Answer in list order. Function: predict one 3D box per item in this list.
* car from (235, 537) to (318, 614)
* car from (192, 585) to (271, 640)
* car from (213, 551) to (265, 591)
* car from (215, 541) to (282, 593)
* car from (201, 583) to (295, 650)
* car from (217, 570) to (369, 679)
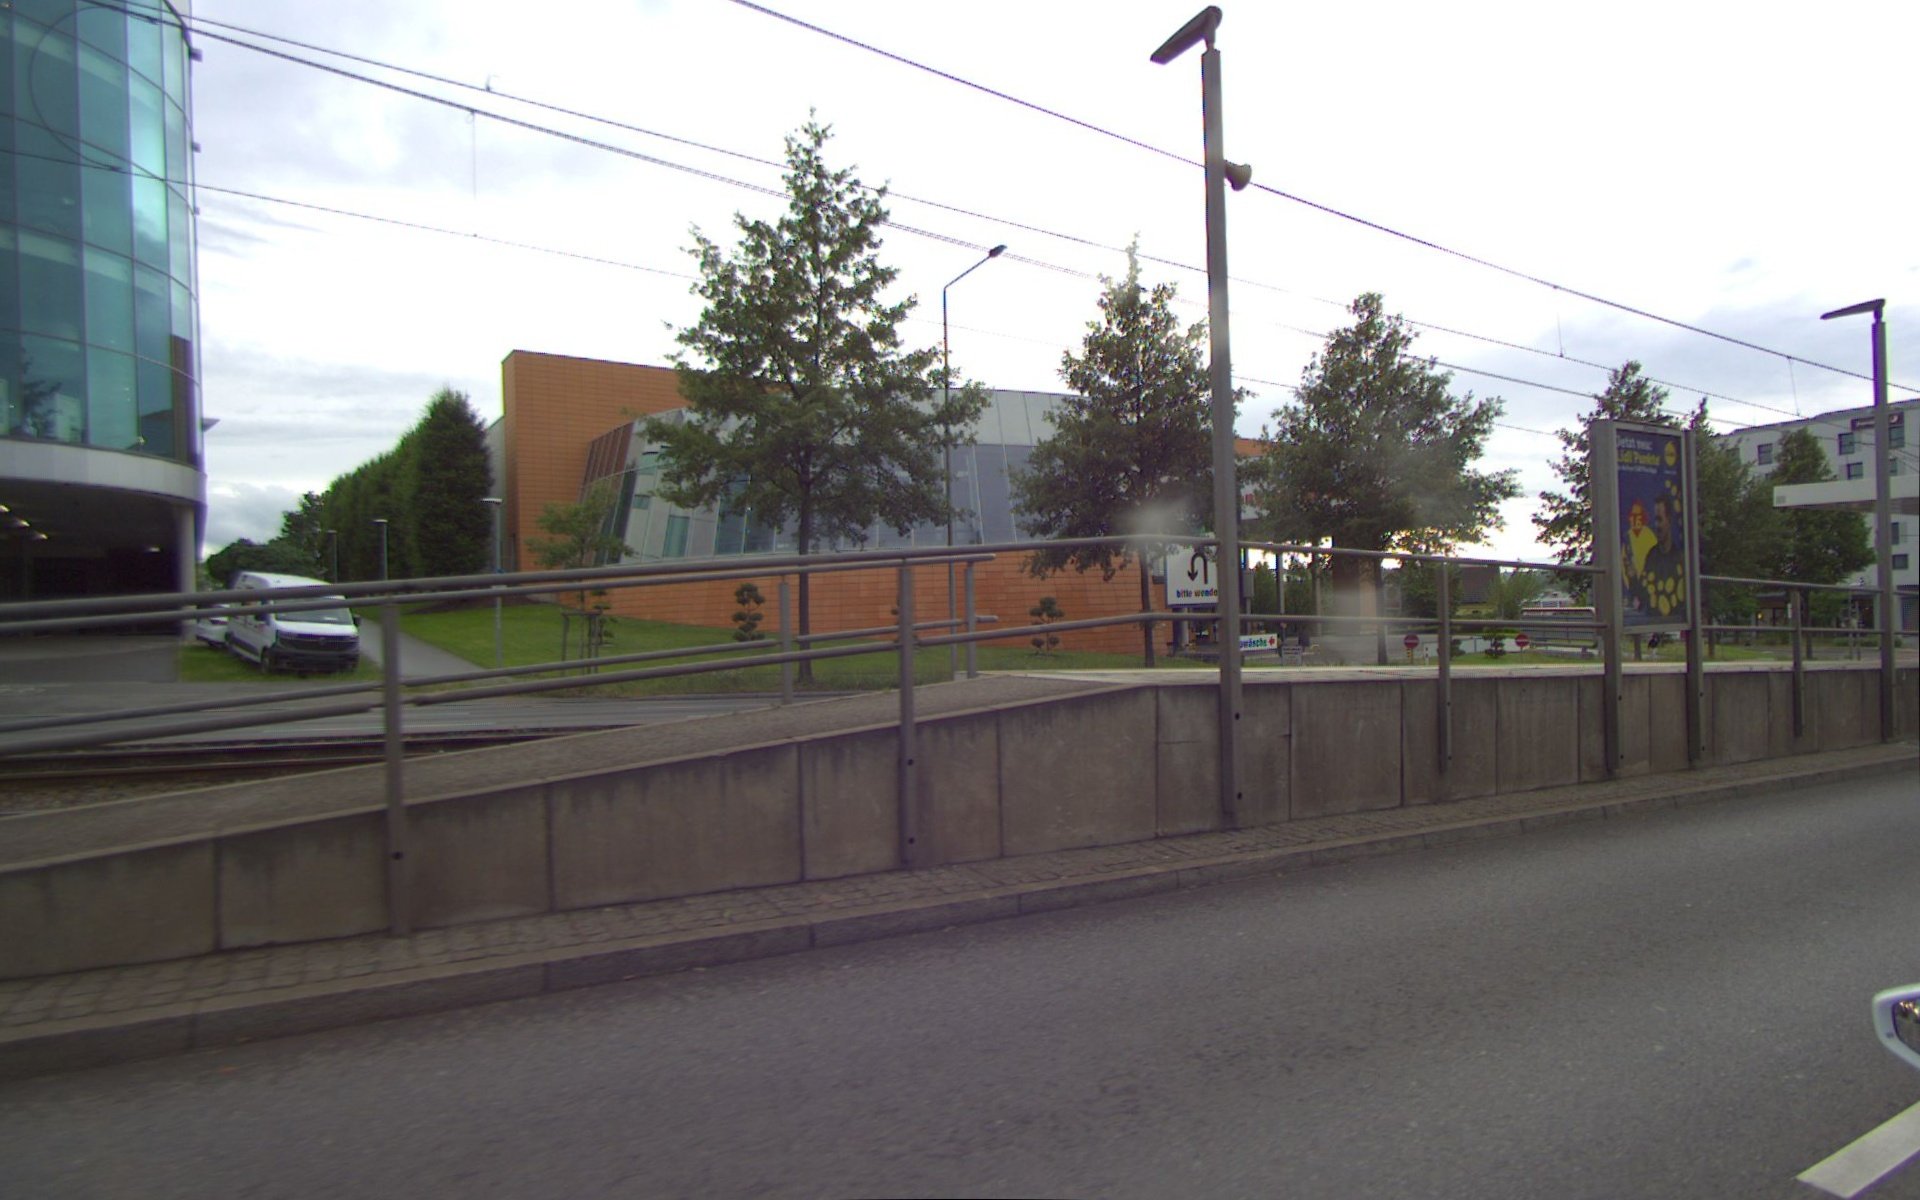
[{"bbox_3d":[-31.937,-1.081,46.912,2.972,3.315,5.429,2,0,-36],"label":"car"},{"bbox_3d":[-27.695,0.440,38.283,2.257,1.952,5.429,2,0,-35],"label":"car"},{"bbox_3d":[-48.837,-1.931,68.096,2.721,2.528,5.429,2,0,-35],"label":"car"},{"bbox_3d":[-37.988,-1.704,53.660,2.721,2.528,5.429,2,0,-35],"label":"car"},{"bbox_3d":[-22.814,0.478,32.237,2.257,1.952,5.429,2,0,-35],"label":"car"},{"bbox_3d":[-18.274,0.587,27.414,5.407,2.664,2.266,1,0,43],"label":"car"}]
